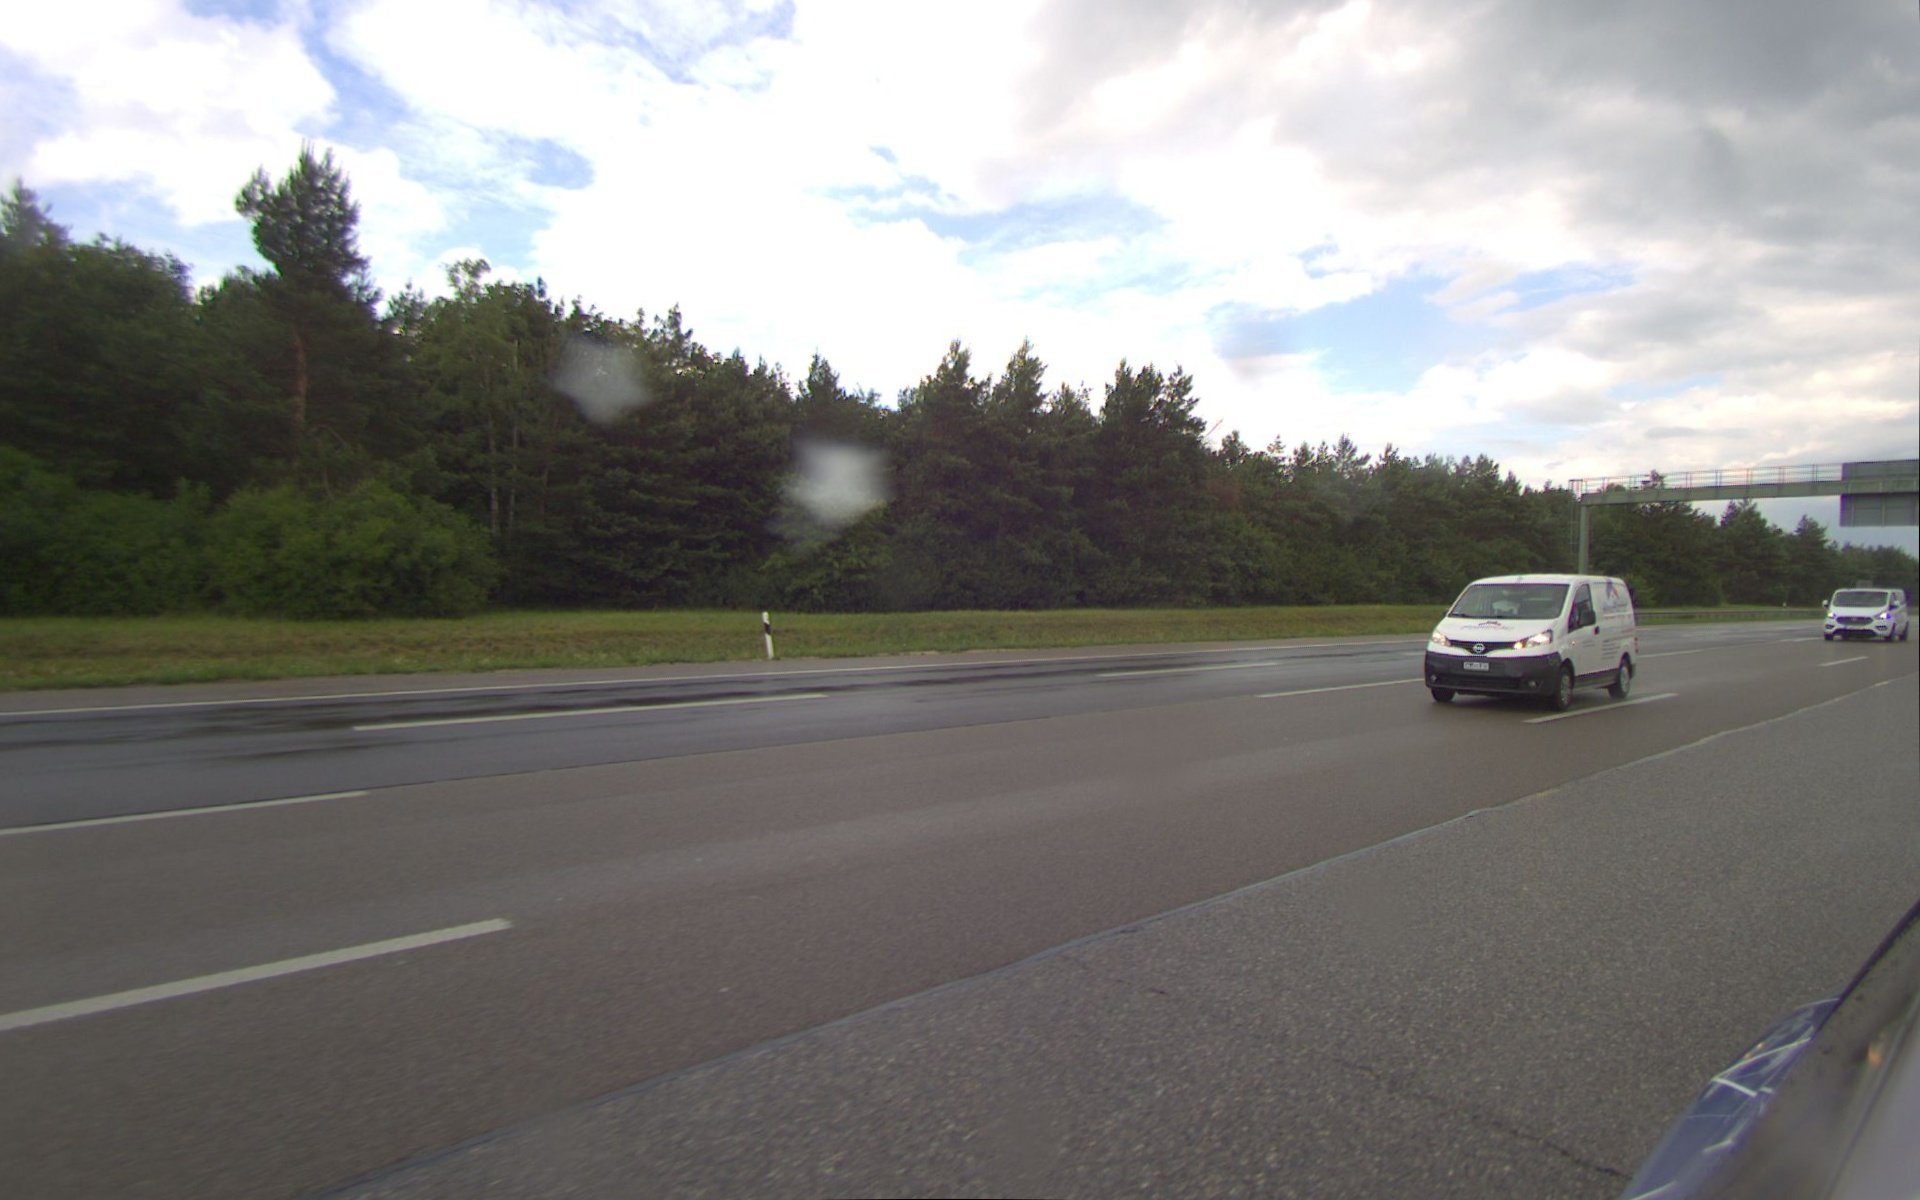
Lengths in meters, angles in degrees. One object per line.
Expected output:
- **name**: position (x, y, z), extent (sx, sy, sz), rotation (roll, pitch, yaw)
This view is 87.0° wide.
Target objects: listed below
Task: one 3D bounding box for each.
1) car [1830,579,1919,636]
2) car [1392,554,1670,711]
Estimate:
- **car**: position (35.444, 0.273, 38.879), extent (5.381, 2.039, 1.999), rotation (0, 0, -37)
- **car**: position (8.440, 0.378, 14.777), extent (4.794, 1.926, 1.968), rotation (0, 1, -40)
